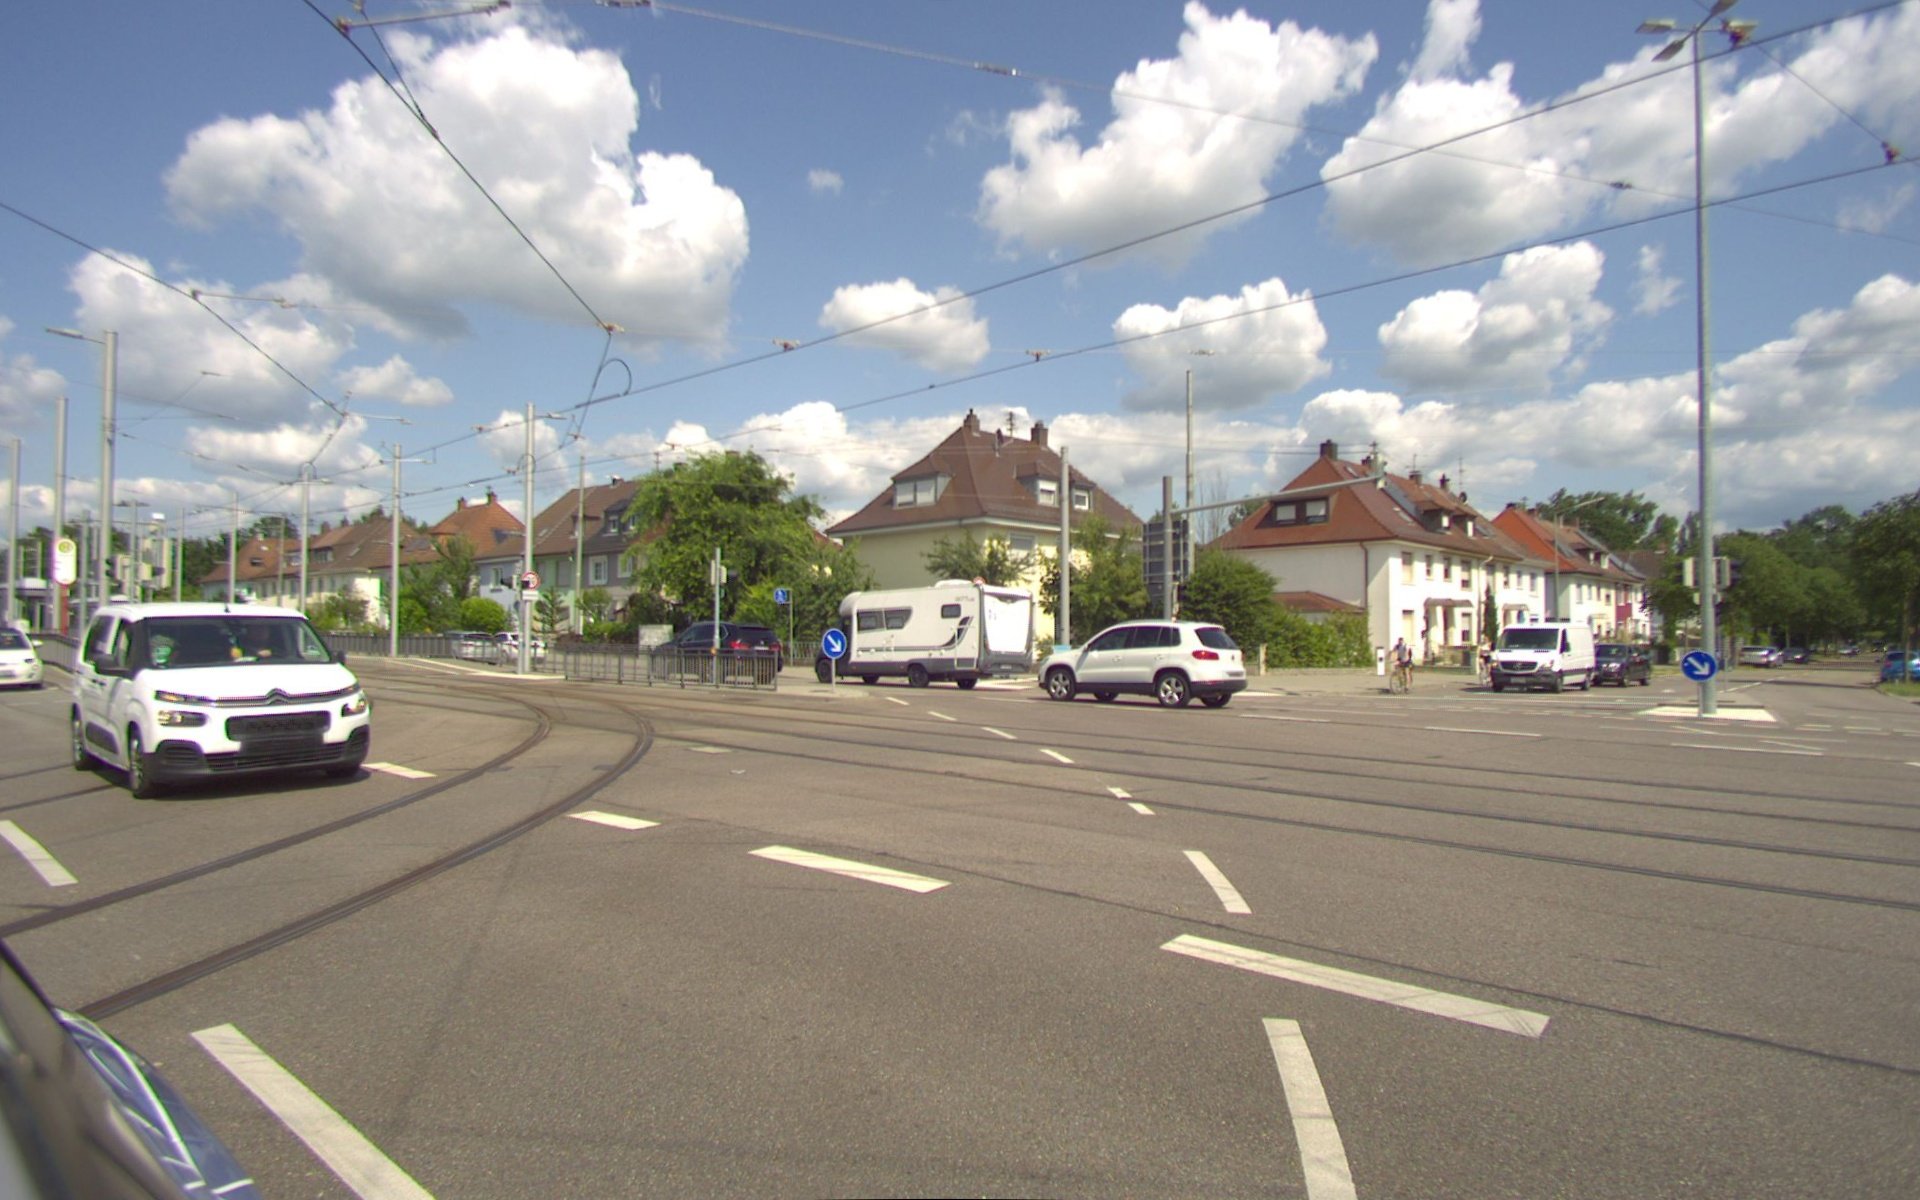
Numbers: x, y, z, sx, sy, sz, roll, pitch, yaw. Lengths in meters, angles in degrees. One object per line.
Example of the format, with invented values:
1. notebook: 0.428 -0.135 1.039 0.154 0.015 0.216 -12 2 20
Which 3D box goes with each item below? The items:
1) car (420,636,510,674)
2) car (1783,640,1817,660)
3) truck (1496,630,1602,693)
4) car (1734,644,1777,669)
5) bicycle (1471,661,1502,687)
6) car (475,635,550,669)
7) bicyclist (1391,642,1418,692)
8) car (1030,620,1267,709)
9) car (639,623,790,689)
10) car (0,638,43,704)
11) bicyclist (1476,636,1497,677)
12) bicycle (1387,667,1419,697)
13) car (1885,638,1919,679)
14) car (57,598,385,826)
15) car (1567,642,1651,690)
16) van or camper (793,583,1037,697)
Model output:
1. car: -20.642 2.248 42.140 4.176 1.362 1.972 -1 0 42
2. car: 73.501 4.374 88.527 2.000 1.564 4.118 0 0 43
3. truck: 19.877 1.987 34.017 1.690 1.936 6.116 -1 -2 44
4. car: 56.179 3.950 71.434 2.000 1.564 4.118 0 0 43
5. bicycle: 20.063 2.817 38.563 0.602 0.841 1.784 -1 0 43
6. car: -20.603 2.359 46.541 4.346 1.362 1.665 -1 0 44
7. bicyclist: 14.071 2.104 32.034 0.602 1.520 0.636 -1 -1 43
8. car: 3.661 1.242 20.044 4.176 1.564 1.972 -1 -5 42
9. car: -7.263 1.622 29.627 4.879 1.790 1.971 -2 -4 44
10. car: -24.049 1.726 24.914 3.389 1.515 1.660 -1 -1 38
11. bicyclist: 20.051 2.155 38.549 0.602 1.509 0.494 -1 -1 43
12. bicycle: 14.004 2.570 31.952 0.602 0.841 1.067 -1 0 43
13. car: 42.696 2.591 45.155 1.999 1.608 3.945 -1 0 42
14. car: -7.614 0.944 10.255 4.327 1.829 1.776 -2 -1 41
15. car: 24.901 2.483 38.786 2.000 1.564 4.118 0 0 43
16. van or camper: -1.516 1.143 29.703 7.752 2.952 2.299 -1 -3 42
